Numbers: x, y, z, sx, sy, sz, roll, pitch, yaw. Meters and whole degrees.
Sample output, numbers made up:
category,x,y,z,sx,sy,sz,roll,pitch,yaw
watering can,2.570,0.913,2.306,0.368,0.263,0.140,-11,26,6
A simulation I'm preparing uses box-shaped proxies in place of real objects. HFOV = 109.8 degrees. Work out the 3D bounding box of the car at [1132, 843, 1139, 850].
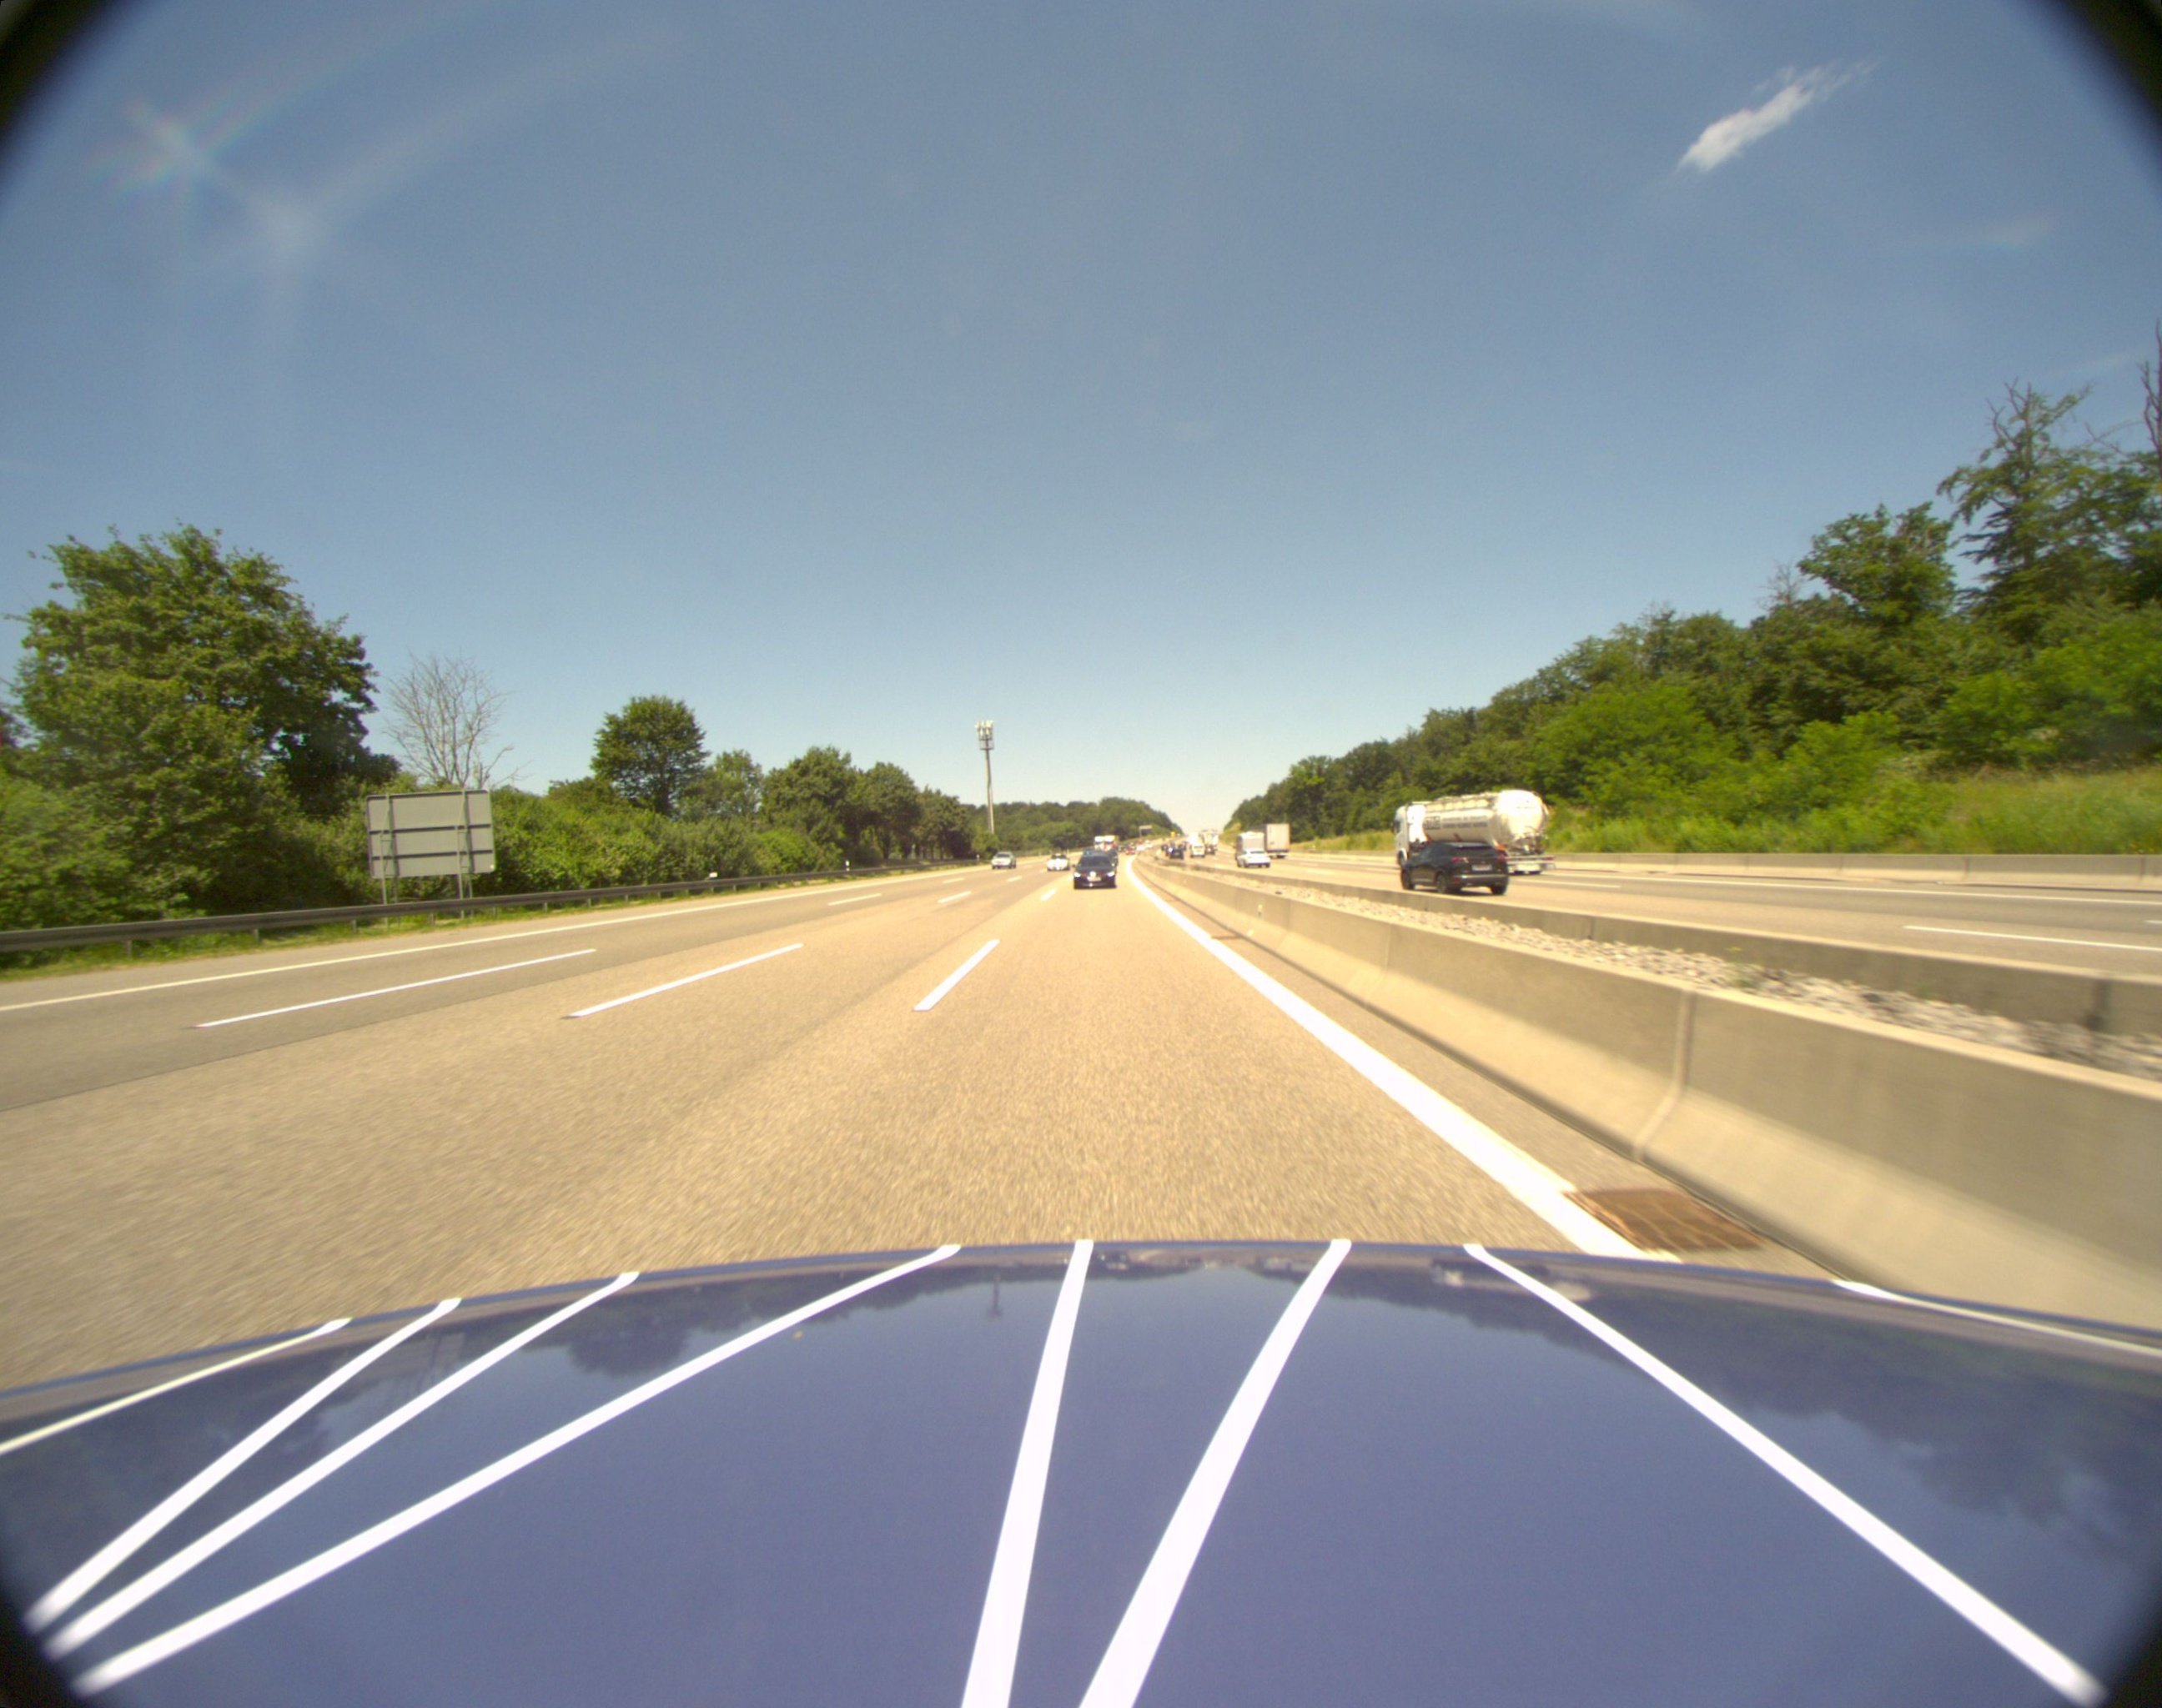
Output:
category,x,y,z,sx,sy,sz,roll,pitch,yaw
car,16.814,-2.400,235.376,1.998,2.002,3.999,-3,1,1

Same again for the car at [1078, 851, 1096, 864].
category,x,y,z,sx,sy,sz,roll,pitch,yaw
car,0.781,0.484,98.883,1.998,1.521,4.234,-2,1,4

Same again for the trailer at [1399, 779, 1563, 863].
category,x,y,z,sx,sy,sz,roll,pitch,yaw
trailer,19.475,-1.540,38.037,2.658,3.515,10.492,-3,1,1

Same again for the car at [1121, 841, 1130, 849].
category,x,y,z,sx,sy,sz,roll,pitch,yaw
car,10.967,-2.217,188.001,1.998,1.848,3.999,-3,1,2

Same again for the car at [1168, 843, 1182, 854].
category,x,y,z,sx,sy,sz,roll,pitch,yaw
car,15.485,-0.954,125.356,1.877,1.624,5.164,-2,1,4

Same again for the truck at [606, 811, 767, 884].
category,x,y,z,sx,sy,sz,roll,pitch,yaw
truck,-32.640,-0.656,64.476,3.527,5.290,16.389,-2,1,5

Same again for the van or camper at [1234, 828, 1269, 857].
category,x,y,z,sx,sy,sz,roll,pitch,yaw
van or camper,18.252,-1.177,81.708,2.564,2.914,7.351,-1,1,4

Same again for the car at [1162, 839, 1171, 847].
category,x,y,z,sx,sy,sz,roll,pitch,yaw
car,20.802,-2.688,185.103,1.831,1.819,4.985,-2,1,5

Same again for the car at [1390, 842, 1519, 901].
category,x,y,z,sx,sy,sz,roll,pitch,yaw
car,11.149,0.438,23.081,1.679,1.517,4.610,-3,1,1

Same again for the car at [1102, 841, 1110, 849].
category,x,y,z,sx,sy,sz,roll,pitch,yaw
car,6.941,-2.476,212.360,1.998,2.002,4.000,-2,0,1

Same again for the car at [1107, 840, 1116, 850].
category,x,y,z,sx,sy,sz,roll,pitch,yaw
car,7.509,-2.227,188.609,2.234,2.372,4.162,-3,1,2

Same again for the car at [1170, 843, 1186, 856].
category,x,y,z,sx,sy,sz,roll,pitch,yaw
car,12.477,-0.603,97.715,1.678,1.488,4.952,-2,1,4

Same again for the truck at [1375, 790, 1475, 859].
category,x,y,z,sx,sy,sz,roll,pitch,yaw
truck,19.533,-1.647,43.618,2.710,3.523,6.619,-3,1,1

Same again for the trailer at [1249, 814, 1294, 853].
category,x,y,z,sx,sy,sz,roll,pitch,yaw
trailer,23.059,-2.506,92.867,3.038,4.336,14.278,-2,1,5

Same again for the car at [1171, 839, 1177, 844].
category,x,y,z,sx,sy,sz,roll,pitch,yaw
car,32.036,-4.407,262.085,1.753,1.510,4.827,-2,1,6

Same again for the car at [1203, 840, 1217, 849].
category,x,y,z,sx,sy,sz,roll,pitch,yaw
car,21.828,-1.565,128.554,1.998,1.488,4.799,-2,1,5

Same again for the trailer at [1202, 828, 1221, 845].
category,x,y,z,sx,sy,sz,roll,pitch,yaw
trailer,32.043,-4.194,186.596,3.236,4.014,15.289,-2,1,5

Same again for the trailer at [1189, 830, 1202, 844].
category,x,y,z,sx,sy,sz,roll,pitch,yaw
trailer,35.351,-5.253,235.173,2.943,4.077,12.155,-2,1,5

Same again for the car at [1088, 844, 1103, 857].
category,x,y,z,sx,sy,sz,roll,pitch,yaw
car,2.335,-0.613,121.834,1.998,2.002,4.001,-2,1,5

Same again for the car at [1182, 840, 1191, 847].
category,x,y,z,sx,sy,sz,roll,pitch,yaw
car,24.880,-2.484,178.762,1.779,1.456,4.000,-3,1,4

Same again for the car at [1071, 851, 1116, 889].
category,x,y,z,sx,sy,sz,roll,pitch,yaw
car,0.612,0.644,32.829,1.760,1.431,4.000,-2,1,3

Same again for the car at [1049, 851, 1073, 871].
category,x,y,z,sx,sy,sz,roll,pitch,yaw
car,-1.640,0.538,63.548,1.729,1.521,3.741,-2,1,2

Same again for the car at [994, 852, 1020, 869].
category,x,y,z,sx,sy,sz,roll,pitch,yaw
car,-7.274,0.600,74.994,1.998,1.521,4.000,-2,1,3

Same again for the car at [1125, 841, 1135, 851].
category,x,y,z,sx,sy,sz,roll,pitch,yaw
car,10.006,-1.656,156.310,1.998,2.001,4.001,-3,-1,3

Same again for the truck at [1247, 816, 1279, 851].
category,x,y,z,sx,sy,sz,roll,pitch,yaw
truck,23.619,-2.638,98.990,3.049,4.347,6.456,-2,1,6

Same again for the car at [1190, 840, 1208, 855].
category,x,y,z,sx,sy,sz,roll,pitch,yaw
car,16.714,-0.951,107.643,2.007,2.002,5.185,-2,1,4

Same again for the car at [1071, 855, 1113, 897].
category,x,y,z,sx,sy,sz,roll,pitch,yaw
car,0.456,0.816,28.987,1.447,1.376,3.049,-2,2,2

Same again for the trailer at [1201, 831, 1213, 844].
category,x,y,z,sx,sy,sz,roll,pitch,yaw
trailer,39.203,-5.180,235.989,2.729,3.901,10.765,-2,1,5

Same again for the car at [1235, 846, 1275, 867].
category,x,y,z,sx,sy,sz,roll,pitch,yaw
car,13.000,0.138,57.138,1.998,1.451,5.047,-2,1,2

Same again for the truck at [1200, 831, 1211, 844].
category,x,y,z,sx,sy,sz,roll,pitch,yaw
truck,39.928,-5.365,243.472,2.727,3.991,6.939,-2,1,5
